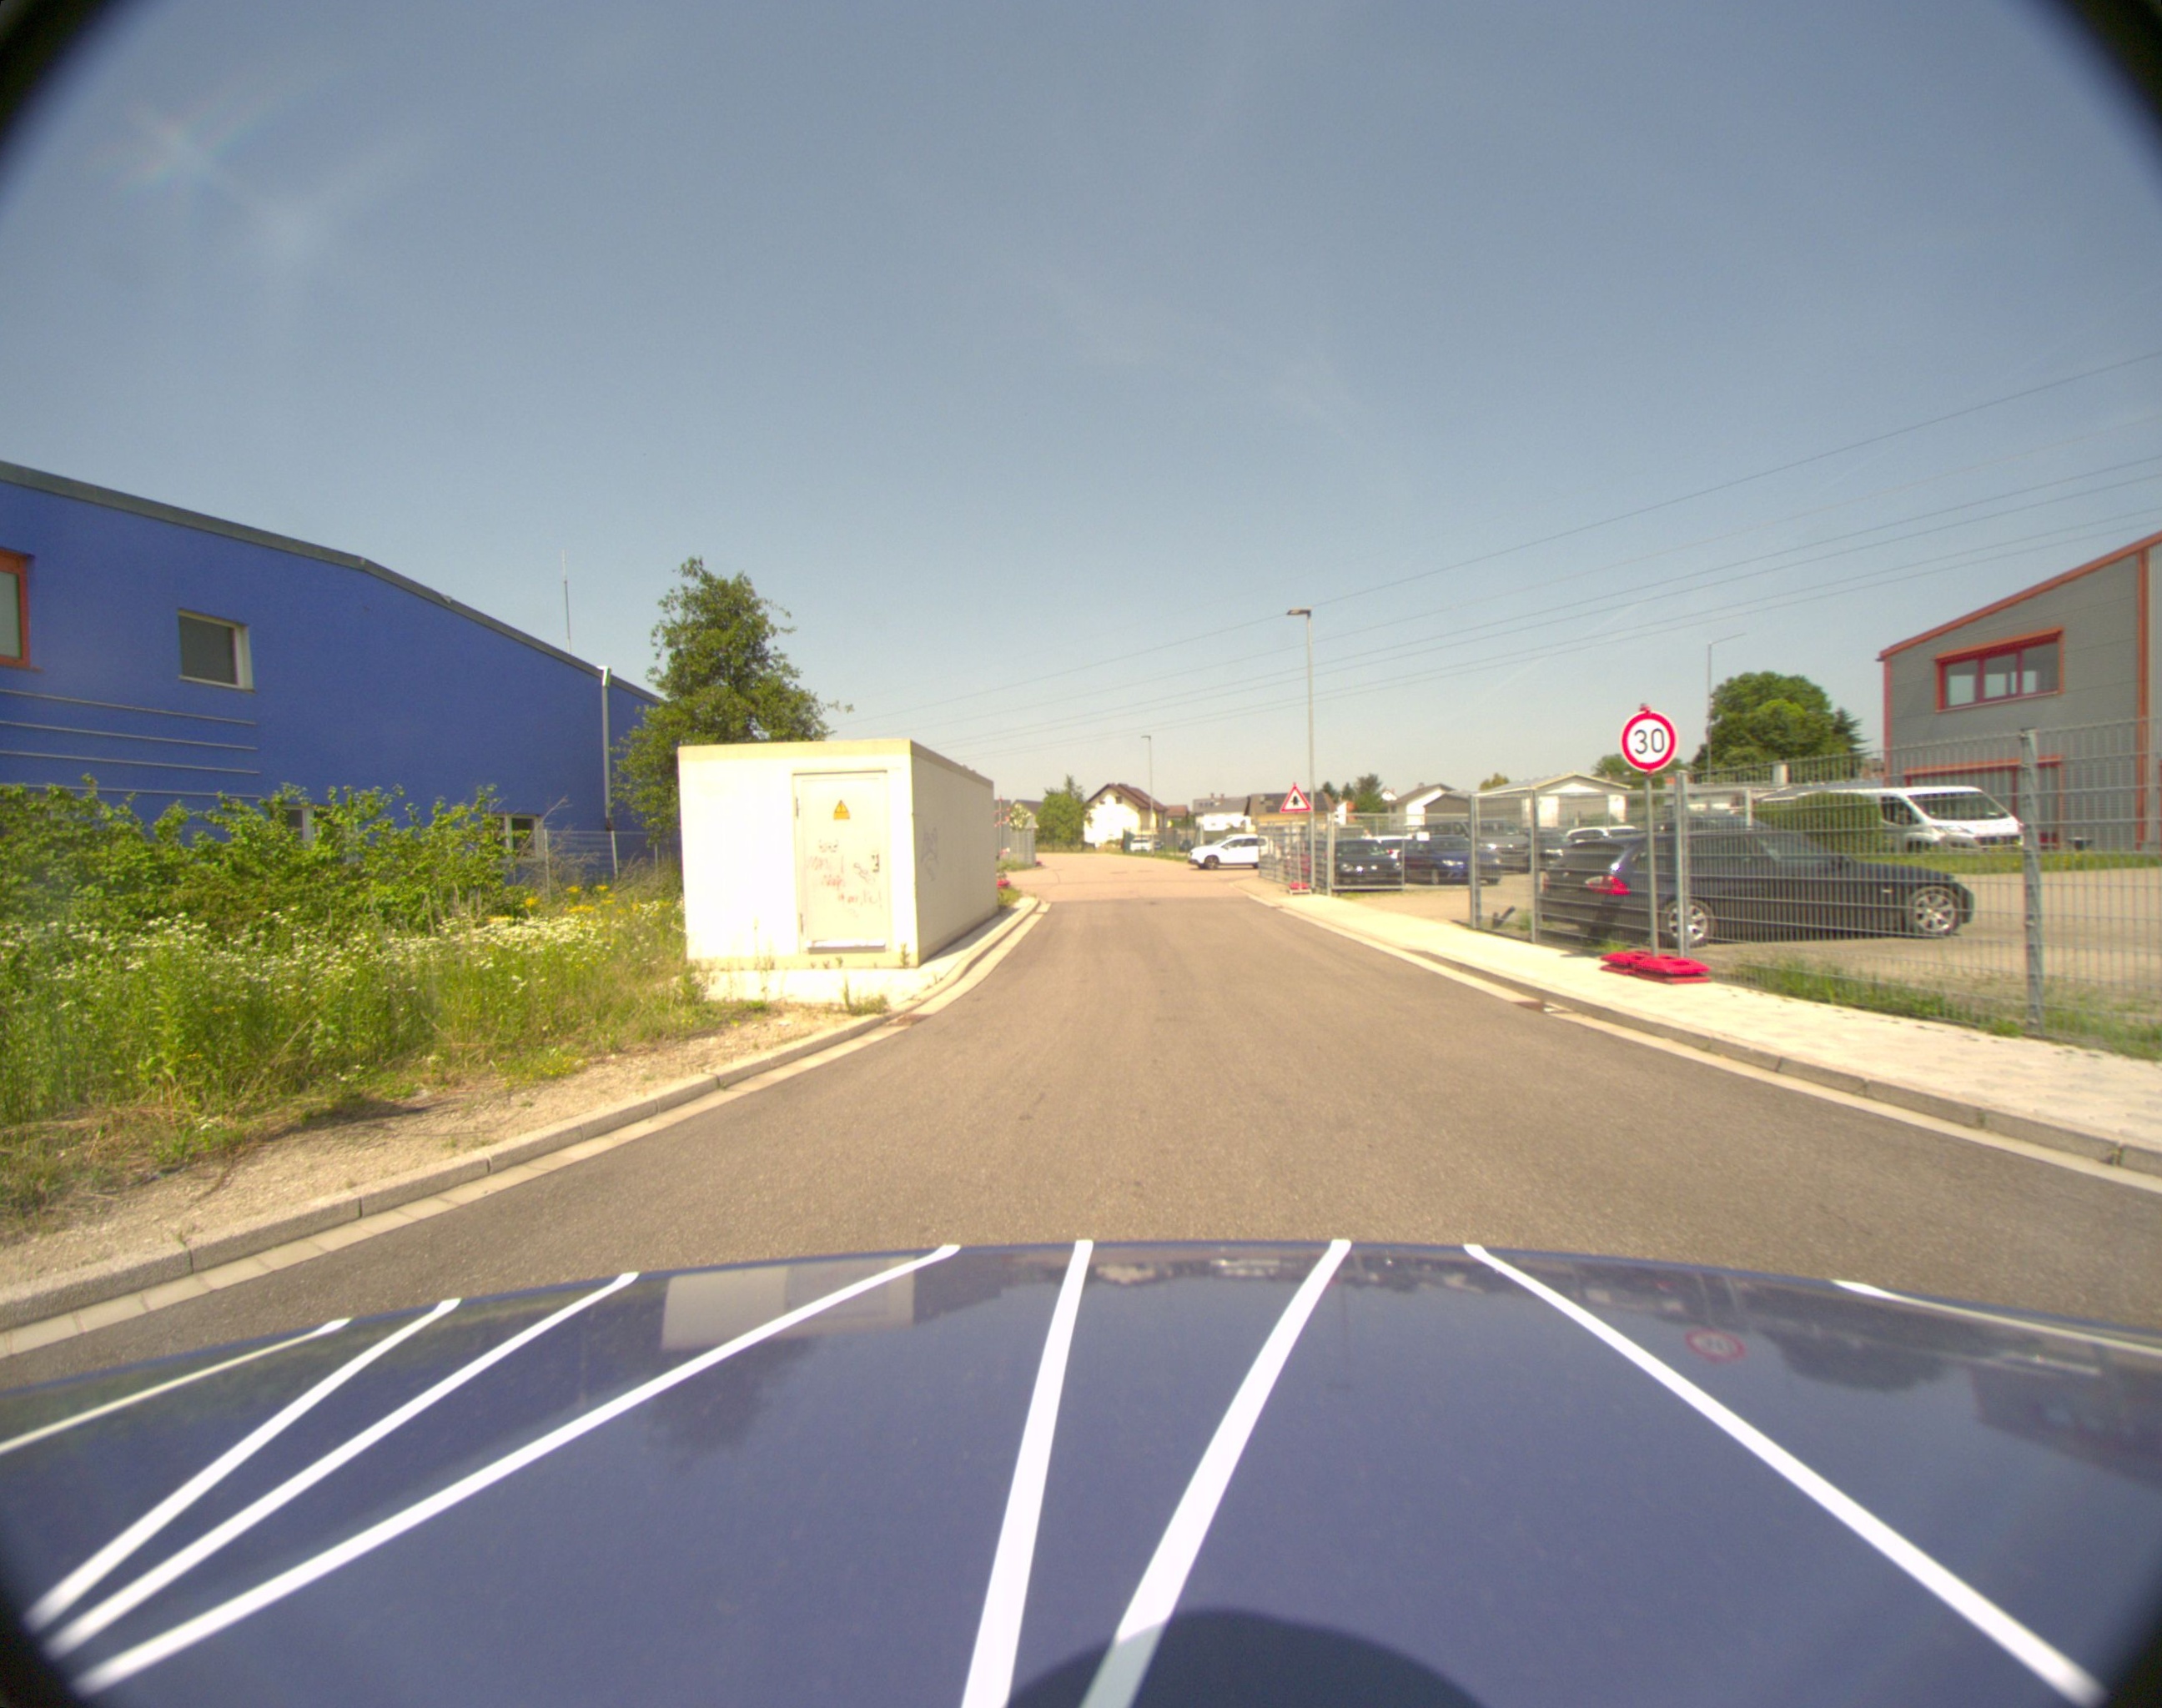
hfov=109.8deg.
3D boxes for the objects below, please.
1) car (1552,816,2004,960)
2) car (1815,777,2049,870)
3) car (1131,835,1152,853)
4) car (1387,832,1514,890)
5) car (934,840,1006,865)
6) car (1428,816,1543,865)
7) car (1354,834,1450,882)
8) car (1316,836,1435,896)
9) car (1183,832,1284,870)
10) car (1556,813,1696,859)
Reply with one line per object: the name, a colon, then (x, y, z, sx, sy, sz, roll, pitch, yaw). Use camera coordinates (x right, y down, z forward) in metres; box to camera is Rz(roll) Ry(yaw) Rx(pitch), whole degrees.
car: (8.554, 0.395, 9.635, 3.996, 1.494, 1.775, -3, 1, 3)
car: (22.735, -0.767, 20.618, 1.997, 2.183, 4.325, -2, 1, 11)
car: (5.359, -0.878, 67.397, 1.773, 1.494, 4.162, -2, 1, 4)
car: (10.703, 0.172, 22.346, 1.774, 1.494, 3.810, -3, 1, -1)
car: (-7.320, -0.110, 50.109, 4.577, 1.419, 1.998, -2, 1, -10)
car: (13.950, -0.461, 26.496, 1.774, 1.494, 3.999, -3, 1, -1)
car: (11.216, 0.101, 26.838, 1.773, 1.494, 4.000, -3, 1, 2)
car: (8.343, 0.289, 21.938, 1.774, 1.494, 3.999, -3, 1, -1)
car: (6.840, -0.139, 34.341, 4.159, 1.494, 1.774, -3, 1, -1)
car: (18.812, -0.592, 26.485, 1.897, 1.412, 4.199, -2, 1, 1)
